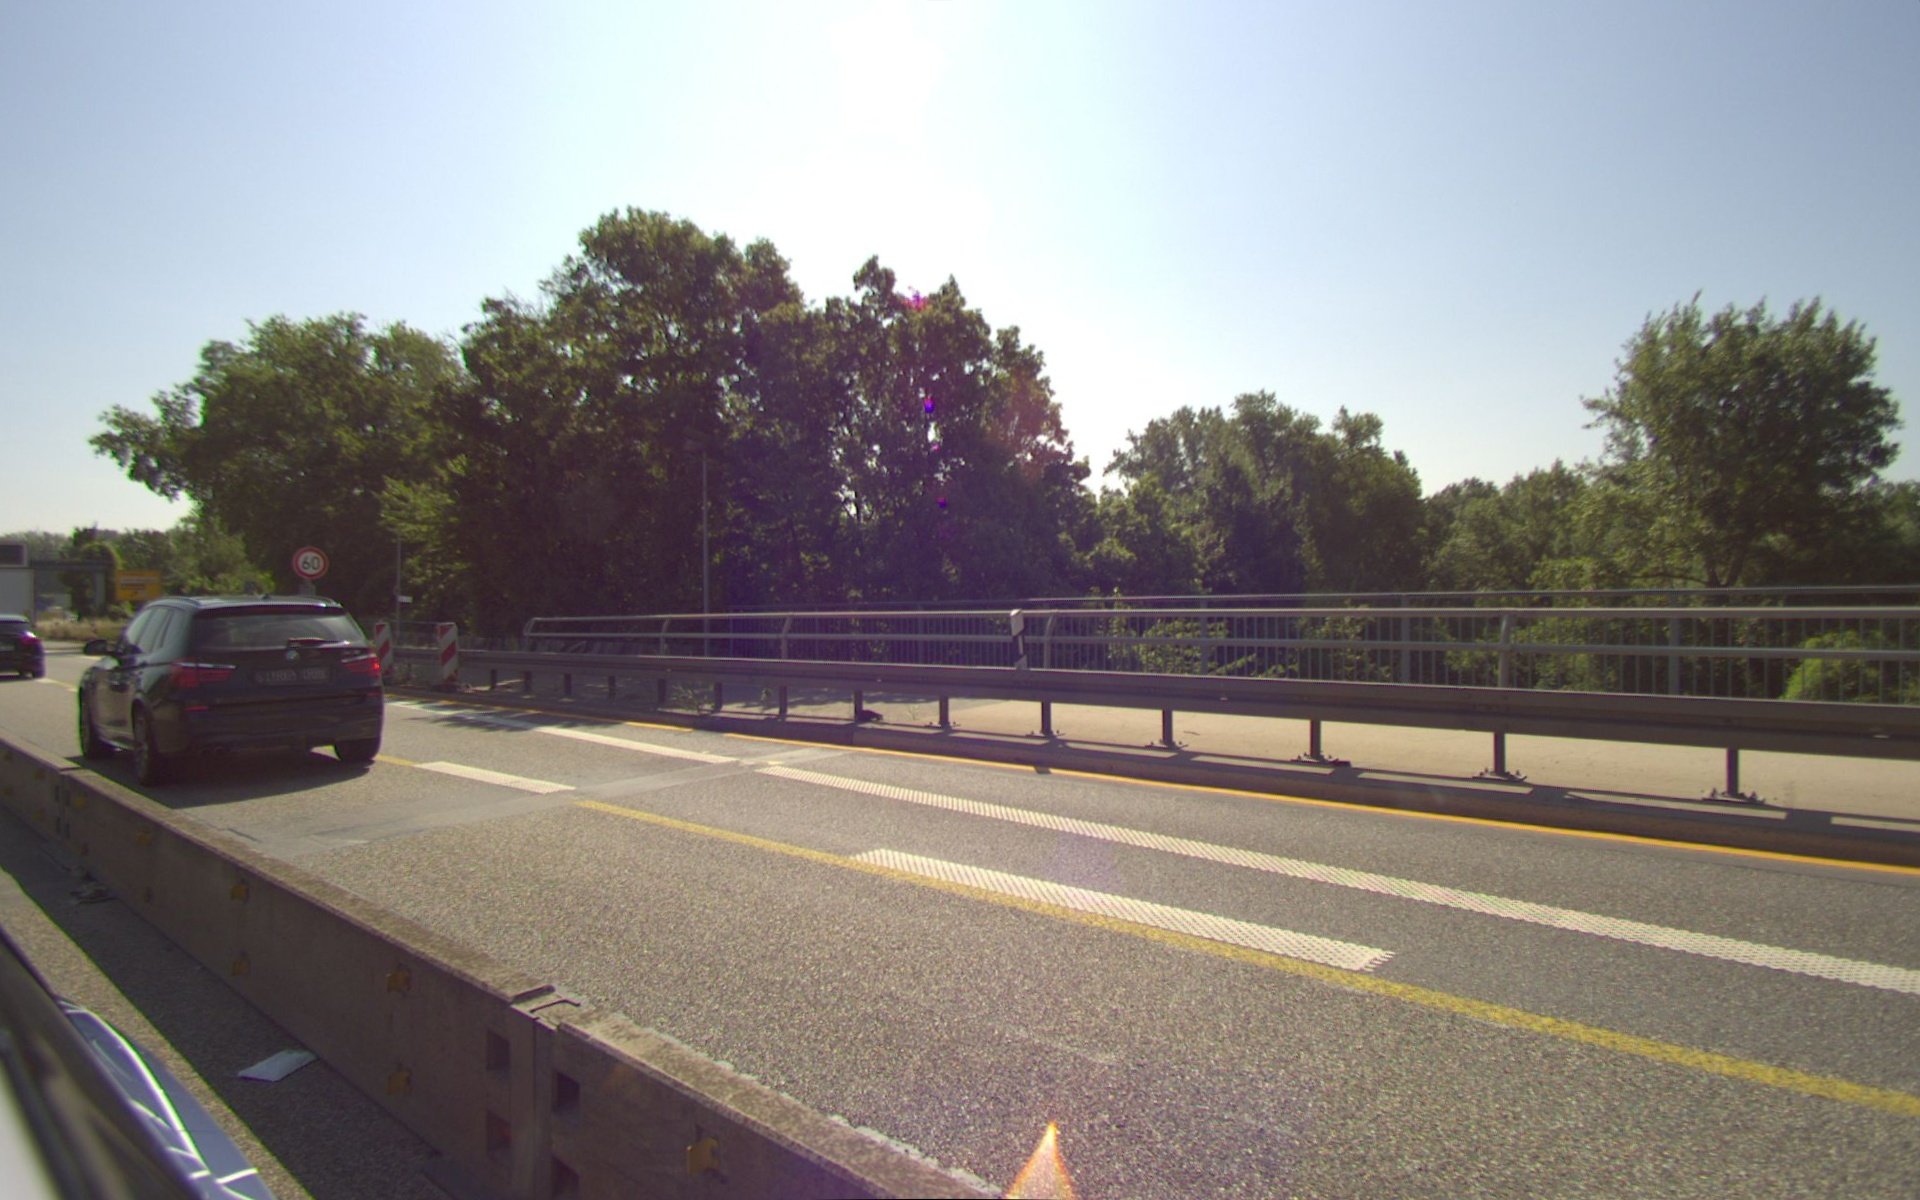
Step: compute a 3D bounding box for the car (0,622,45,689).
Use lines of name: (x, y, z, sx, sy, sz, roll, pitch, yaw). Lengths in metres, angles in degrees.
car: (-24.243, 1.360, 25.219, 3.941, 1.564, 1.720, -2, -1, 41)

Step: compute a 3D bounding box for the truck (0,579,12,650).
truck: (-56.914, 0.873, 58.397, 5.984, 4.021, 2.784, -2, -2, 42)

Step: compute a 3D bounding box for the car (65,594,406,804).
car: (-7.422, 0.822, 10.172, 4.564, 1.644, 1.843, -2, -1, 42)

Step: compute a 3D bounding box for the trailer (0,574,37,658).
trailer: (-51.496, 0.942, 53.530, 13.465, 4.074, 2.773, -2, -2, 43)
